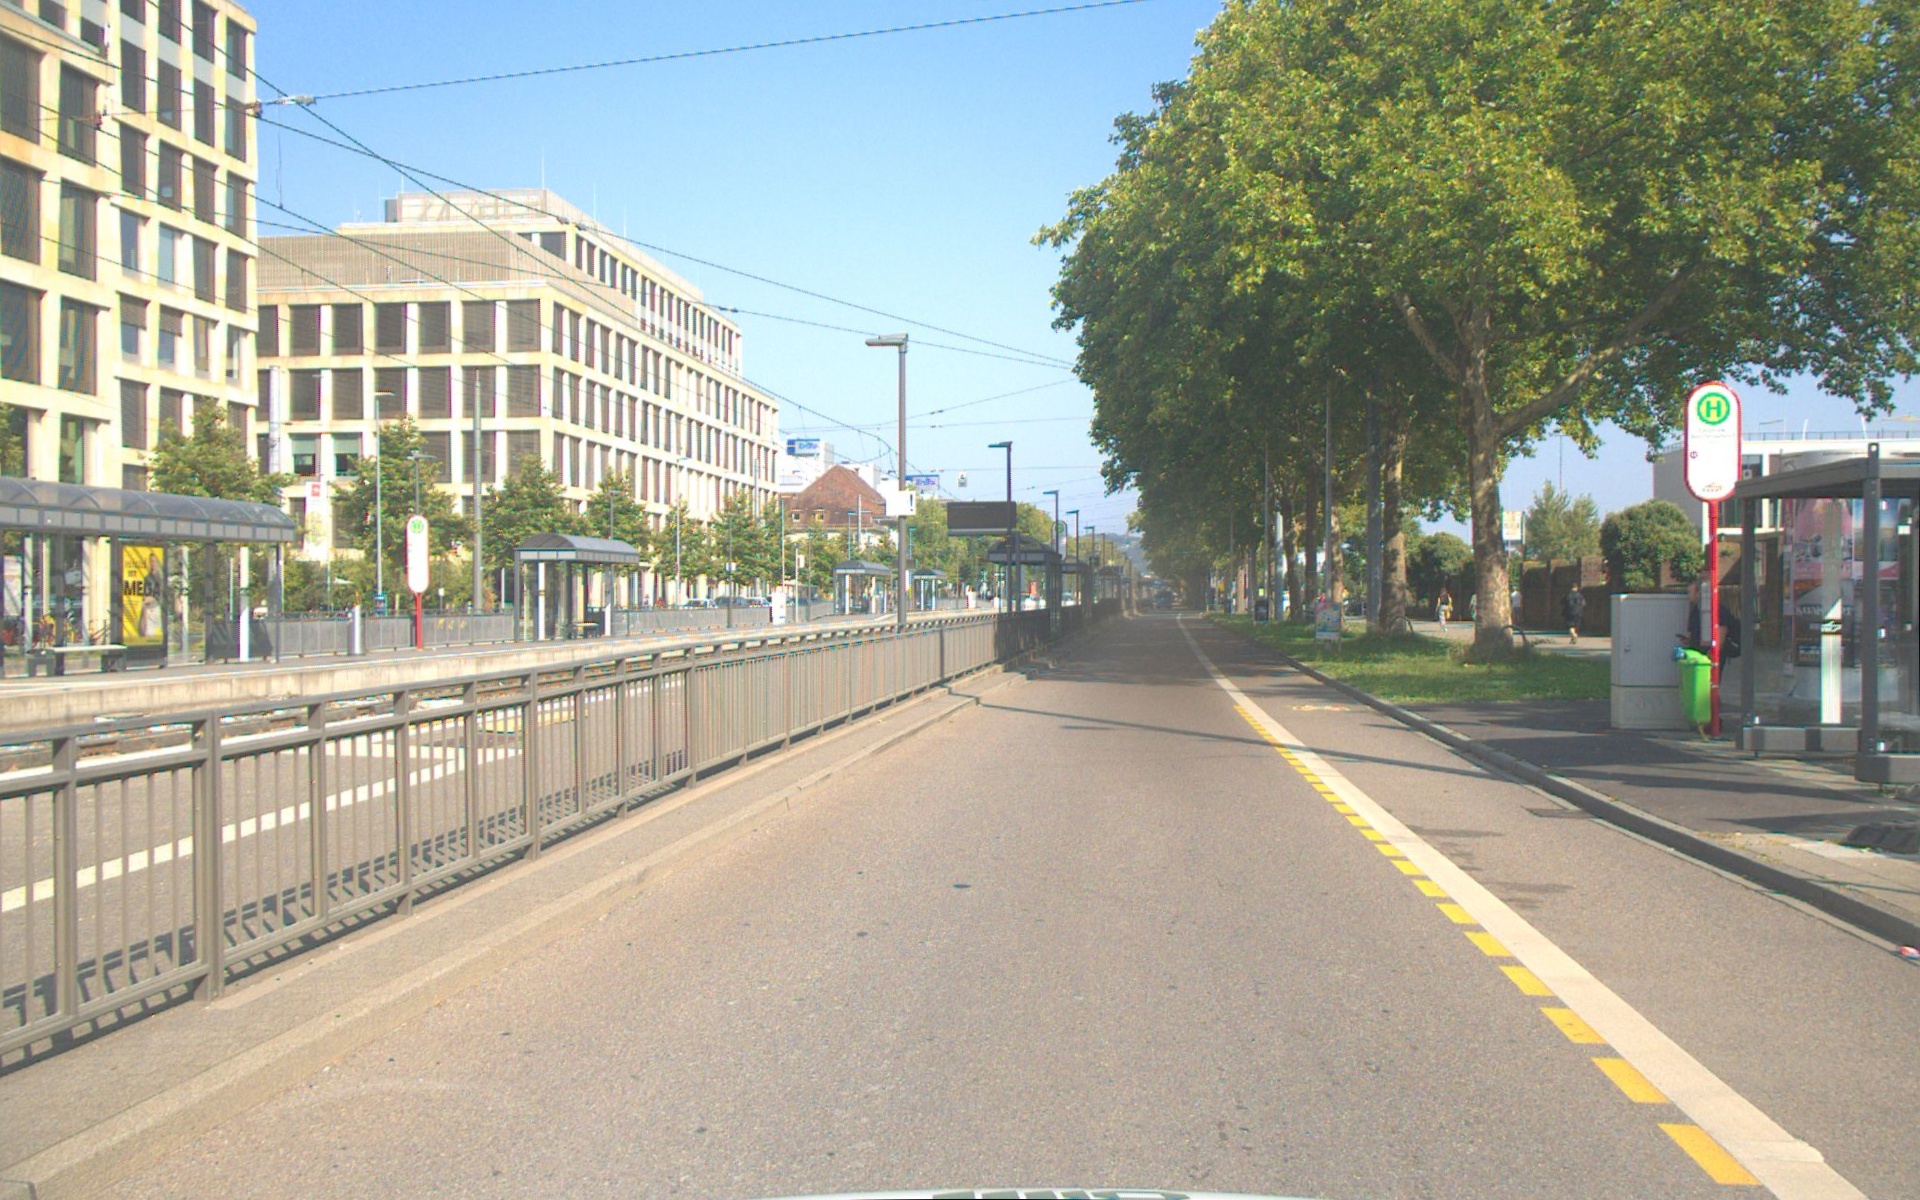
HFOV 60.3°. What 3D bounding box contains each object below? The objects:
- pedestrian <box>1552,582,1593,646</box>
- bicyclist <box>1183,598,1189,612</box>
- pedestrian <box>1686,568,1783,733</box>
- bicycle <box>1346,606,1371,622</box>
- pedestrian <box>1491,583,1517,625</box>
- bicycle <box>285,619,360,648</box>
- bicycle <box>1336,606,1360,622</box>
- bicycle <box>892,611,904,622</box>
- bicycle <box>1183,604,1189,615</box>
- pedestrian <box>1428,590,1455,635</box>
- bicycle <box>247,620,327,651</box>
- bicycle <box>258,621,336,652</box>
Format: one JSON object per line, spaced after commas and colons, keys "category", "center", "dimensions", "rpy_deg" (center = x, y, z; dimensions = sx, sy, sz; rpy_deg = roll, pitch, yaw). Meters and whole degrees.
{"category": "pedestrian", "center": [16.769, 0.392, 45.324], "dimensions": [0.801, 1.716, 1.013], "rpy_deg": [-1, 0, 7]}
{"category": "bicyclist", "center": [23.856, 0.551, 174.654], "dimensions": [0.690, 1.486, 1.010], "rpy_deg": [0, -1, 8]}
{"category": "pedestrian", "center": [8.299, 0.530, 17.735], "dimensions": [0.676, 1.726, 0.646], "rpy_deg": [-1, 0, -14]}
{"category": "bicycle", "center": [26.351, 0.927, 109.384], "dimensions": [1.621, 0.986, 0.506], "rpy_deg": [-3, -1, 13]}
{"category": "pedestrian", "center": [21.557, 0.170, 65.560], "dimensions": [0.789, 1.632, 0.948], "rpy_deg": [-2, -1, 8]}
{"category": "bicycle", "center": [-22.722, 1.199, 58.987], "dimensions": [2.381, 1.003, 0.822], "rpy_deg": [-1, 0, 6]}
{"category": "bicycle", "center": [26.267, 0.950, 112.024], "dimensions": [0.500, 0.986, 1.642], "rpy_deg": [-2, -1, -34]}
{"category": "bicycle", "center": [-4.064, 1.075, 108.524], "dimensions": [0.466, 0.674, 1.615], "rpy_deg": [-1, 0, 12]}
{"category": "bicycle", "center": [23.858, 0.969, 174.612], "dimensions": [0.700, 1.127, 2.511], "rpy_deg": [0, -1, 8]}
{"category": "pedestrian", "center": [18.167, 0.464, 62.373], "dimensions": [0.789, 1.665, 0.948], "rpy_deg": [-2, -1, 8]}
{"category": "bicycle", "center": [-22.954, 1.208, 56.420], "dimensions": [2.381, 1.003, 0.822], "rpy_deg": [-1, 0, 6]}
{"category": "bicycle", "center": [-23.000, 1.268, 57.392], "dimensions": [2.381, 1.003, 0.822], "rpy_deg": [-1, 0, 6]}
